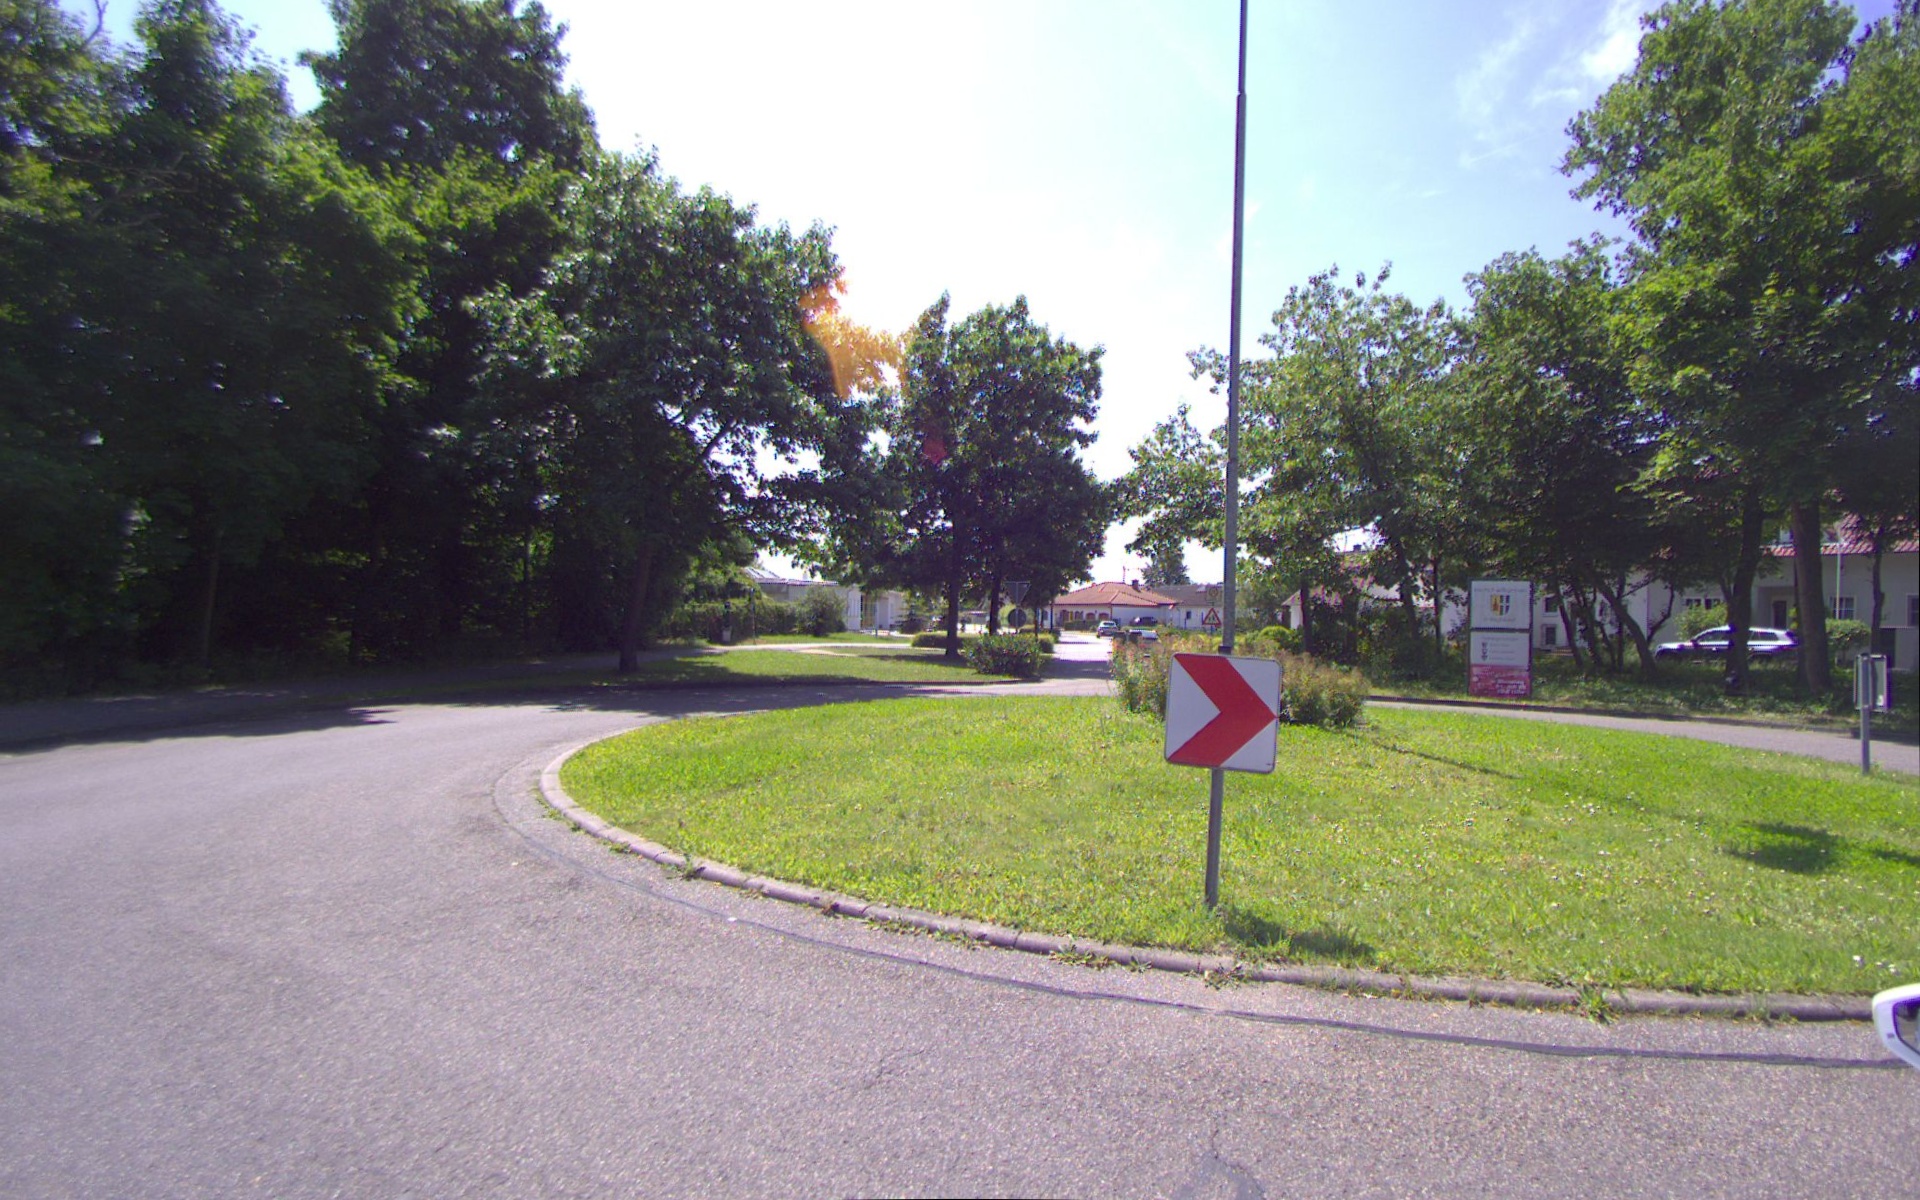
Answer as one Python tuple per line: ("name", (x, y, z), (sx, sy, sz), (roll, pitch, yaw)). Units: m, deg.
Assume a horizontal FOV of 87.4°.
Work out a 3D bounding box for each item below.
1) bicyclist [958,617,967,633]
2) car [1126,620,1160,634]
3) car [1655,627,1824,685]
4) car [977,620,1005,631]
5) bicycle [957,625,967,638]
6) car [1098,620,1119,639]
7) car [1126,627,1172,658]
("bicyclist", (0.187, 1.833, 73.825), (0.587, 1.180, 0.649), (1, -1, 5))
("car", (21.632, 3.170, 118.495), (3.802, 1.563, 1.834), (2, -1, -38))
("car", (25.527, 1.790, 33.049), (1.645, 1.727, 4.114), (2, -1, -27))
("car", (3.937, 3.271, 127.472), (1.972, 1.305, 3.977), (2, -1, -24))
("bicycle", (0.180, 2.305, 73.837), (0.587, 0.941, 1.621), (1, -1, 5))
("car", (12.715, 2.490, 86.024), (1.600, 1.506, 4.002), (1, -1, 6))
("car", (8.551, 1.891, 45.282), (1.587, 1.305, 3.558), (1, -1, 18))
